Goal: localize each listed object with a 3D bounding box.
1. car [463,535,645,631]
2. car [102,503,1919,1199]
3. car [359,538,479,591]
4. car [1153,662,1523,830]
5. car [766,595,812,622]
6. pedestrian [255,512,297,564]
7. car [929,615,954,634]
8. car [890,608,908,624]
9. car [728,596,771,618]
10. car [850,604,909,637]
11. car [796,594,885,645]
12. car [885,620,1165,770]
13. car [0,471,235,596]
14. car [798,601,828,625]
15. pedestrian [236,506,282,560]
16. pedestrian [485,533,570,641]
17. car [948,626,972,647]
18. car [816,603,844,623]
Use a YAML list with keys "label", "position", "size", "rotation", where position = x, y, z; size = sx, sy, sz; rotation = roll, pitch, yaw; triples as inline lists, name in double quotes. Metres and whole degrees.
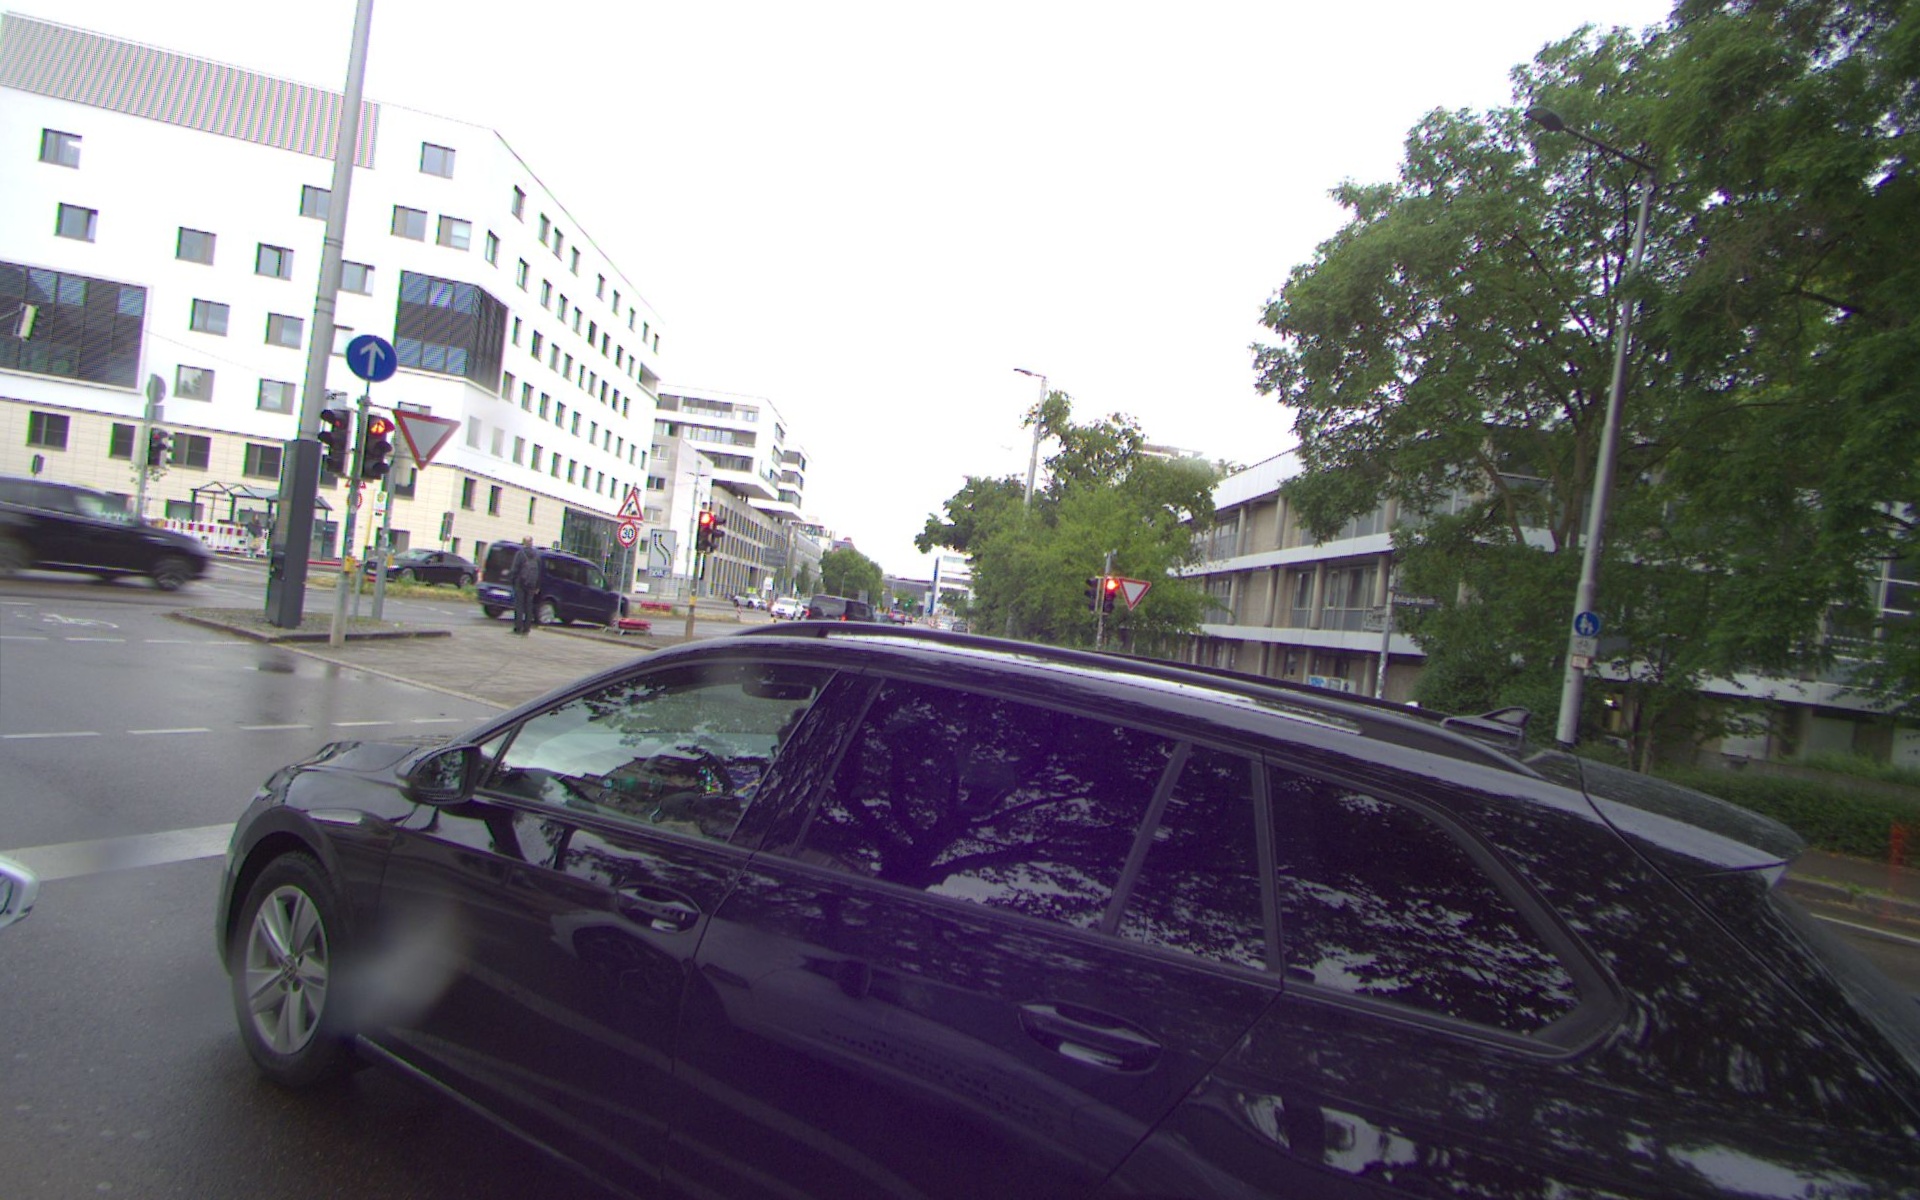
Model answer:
- label: "car"
  position: [-10.248, -0.347, 25.783]
  size: [1.764, 1.930, 4.312]
  rotation: [8, -1, 18]
- label: "car"
  position: [-0.297, 0.768, 2.732]
  size: [4.437, 1.483, 1.673]
  rotation: [8, -1, 31]
- label: "car"
  position: [-21.479, -1.372, 40.131]
  size: [1.764, 1.460, 4.006]
  rotation: [8, -3, 17]
- label: "car"
  position: [5.004, 1.910, 13.906]
  size: [1.853, 1.467, 4.359]
  rotation: [9, -2, -37]
- label: "car"
  position: [-12.317, 0.660, 72.690]
  size: [1.764, 1.460, 4.006]
  rotation: [8, -2, 13]
- label: "pedestrian"
  position: [-27.592, -2.501, 40.598]
  size: [0.941, 1.957, 1.001]
  rotation: [5, -2, 41]
- label: "car"
  position: [-1.871, 2.489, 101.173]
  size: [1.835, 1.669, 4.776]
  rotation: [7, -3, -6]
- label: "car"
  position: [-7.601, 1.991, 124.889]
  size: [1.835, 1.669, 4.776]
  rotation: [7, -3, -6]
- label: "car"
  position: [-20.777, 0.695, 99.233]
  size: [4.003, 1.575, 1.962]
  rotation: [7, -3, 38]
- label: "car"
  position: [-4.835, 1.295, 61.228]
  size: [1.962, 1.693, 4.974]
  rotation: [7, -1, 13]
- label: "car"
  position: [-5.086, 0.895, 43.565]
  size: [1.962, 1.831, 4.790]
  rotation: [8, -1, 16]
- label: "car"
  position: [0.773, 1.277, 14.408]
  size: [1.851, 1.467, 3.964]
  rotation: [9, -1, -34]
- label: "car"
  position: [-15.506, -1.184, 17.339]
  size: [1.764, 1.726, 4.692]
  rotation: [8, -1, 15]
- label: "car"
  position: [-12.436, 1.093, 85.613]
  size: [1.964, 1.684, 4.386]
  rotation: [8, -1, -3]
- label: "pedestrian"
  position: [-26.665, -2.525, 38.262]
  size: [0.808, 1.861, 0.955]
  rotation: [6, -2, 20]
- label: "pedestrian"
  position: [-8.336, -0.236, 19.406]
  size: [1.009, 1.913, 0.830]
  rotation: [6, -2, 23]
- label: "car"
  position: [0.047, 3.122, 85.686]
  size: [1.833, 1.437, 4.005]
  rotation: [7, -3, 1]
- label: "car"
  position: [-12.992, 1.316, 100.677]
  size: [1.930, 1.554, 4.164]
  rotation: [8, -2, 3]
